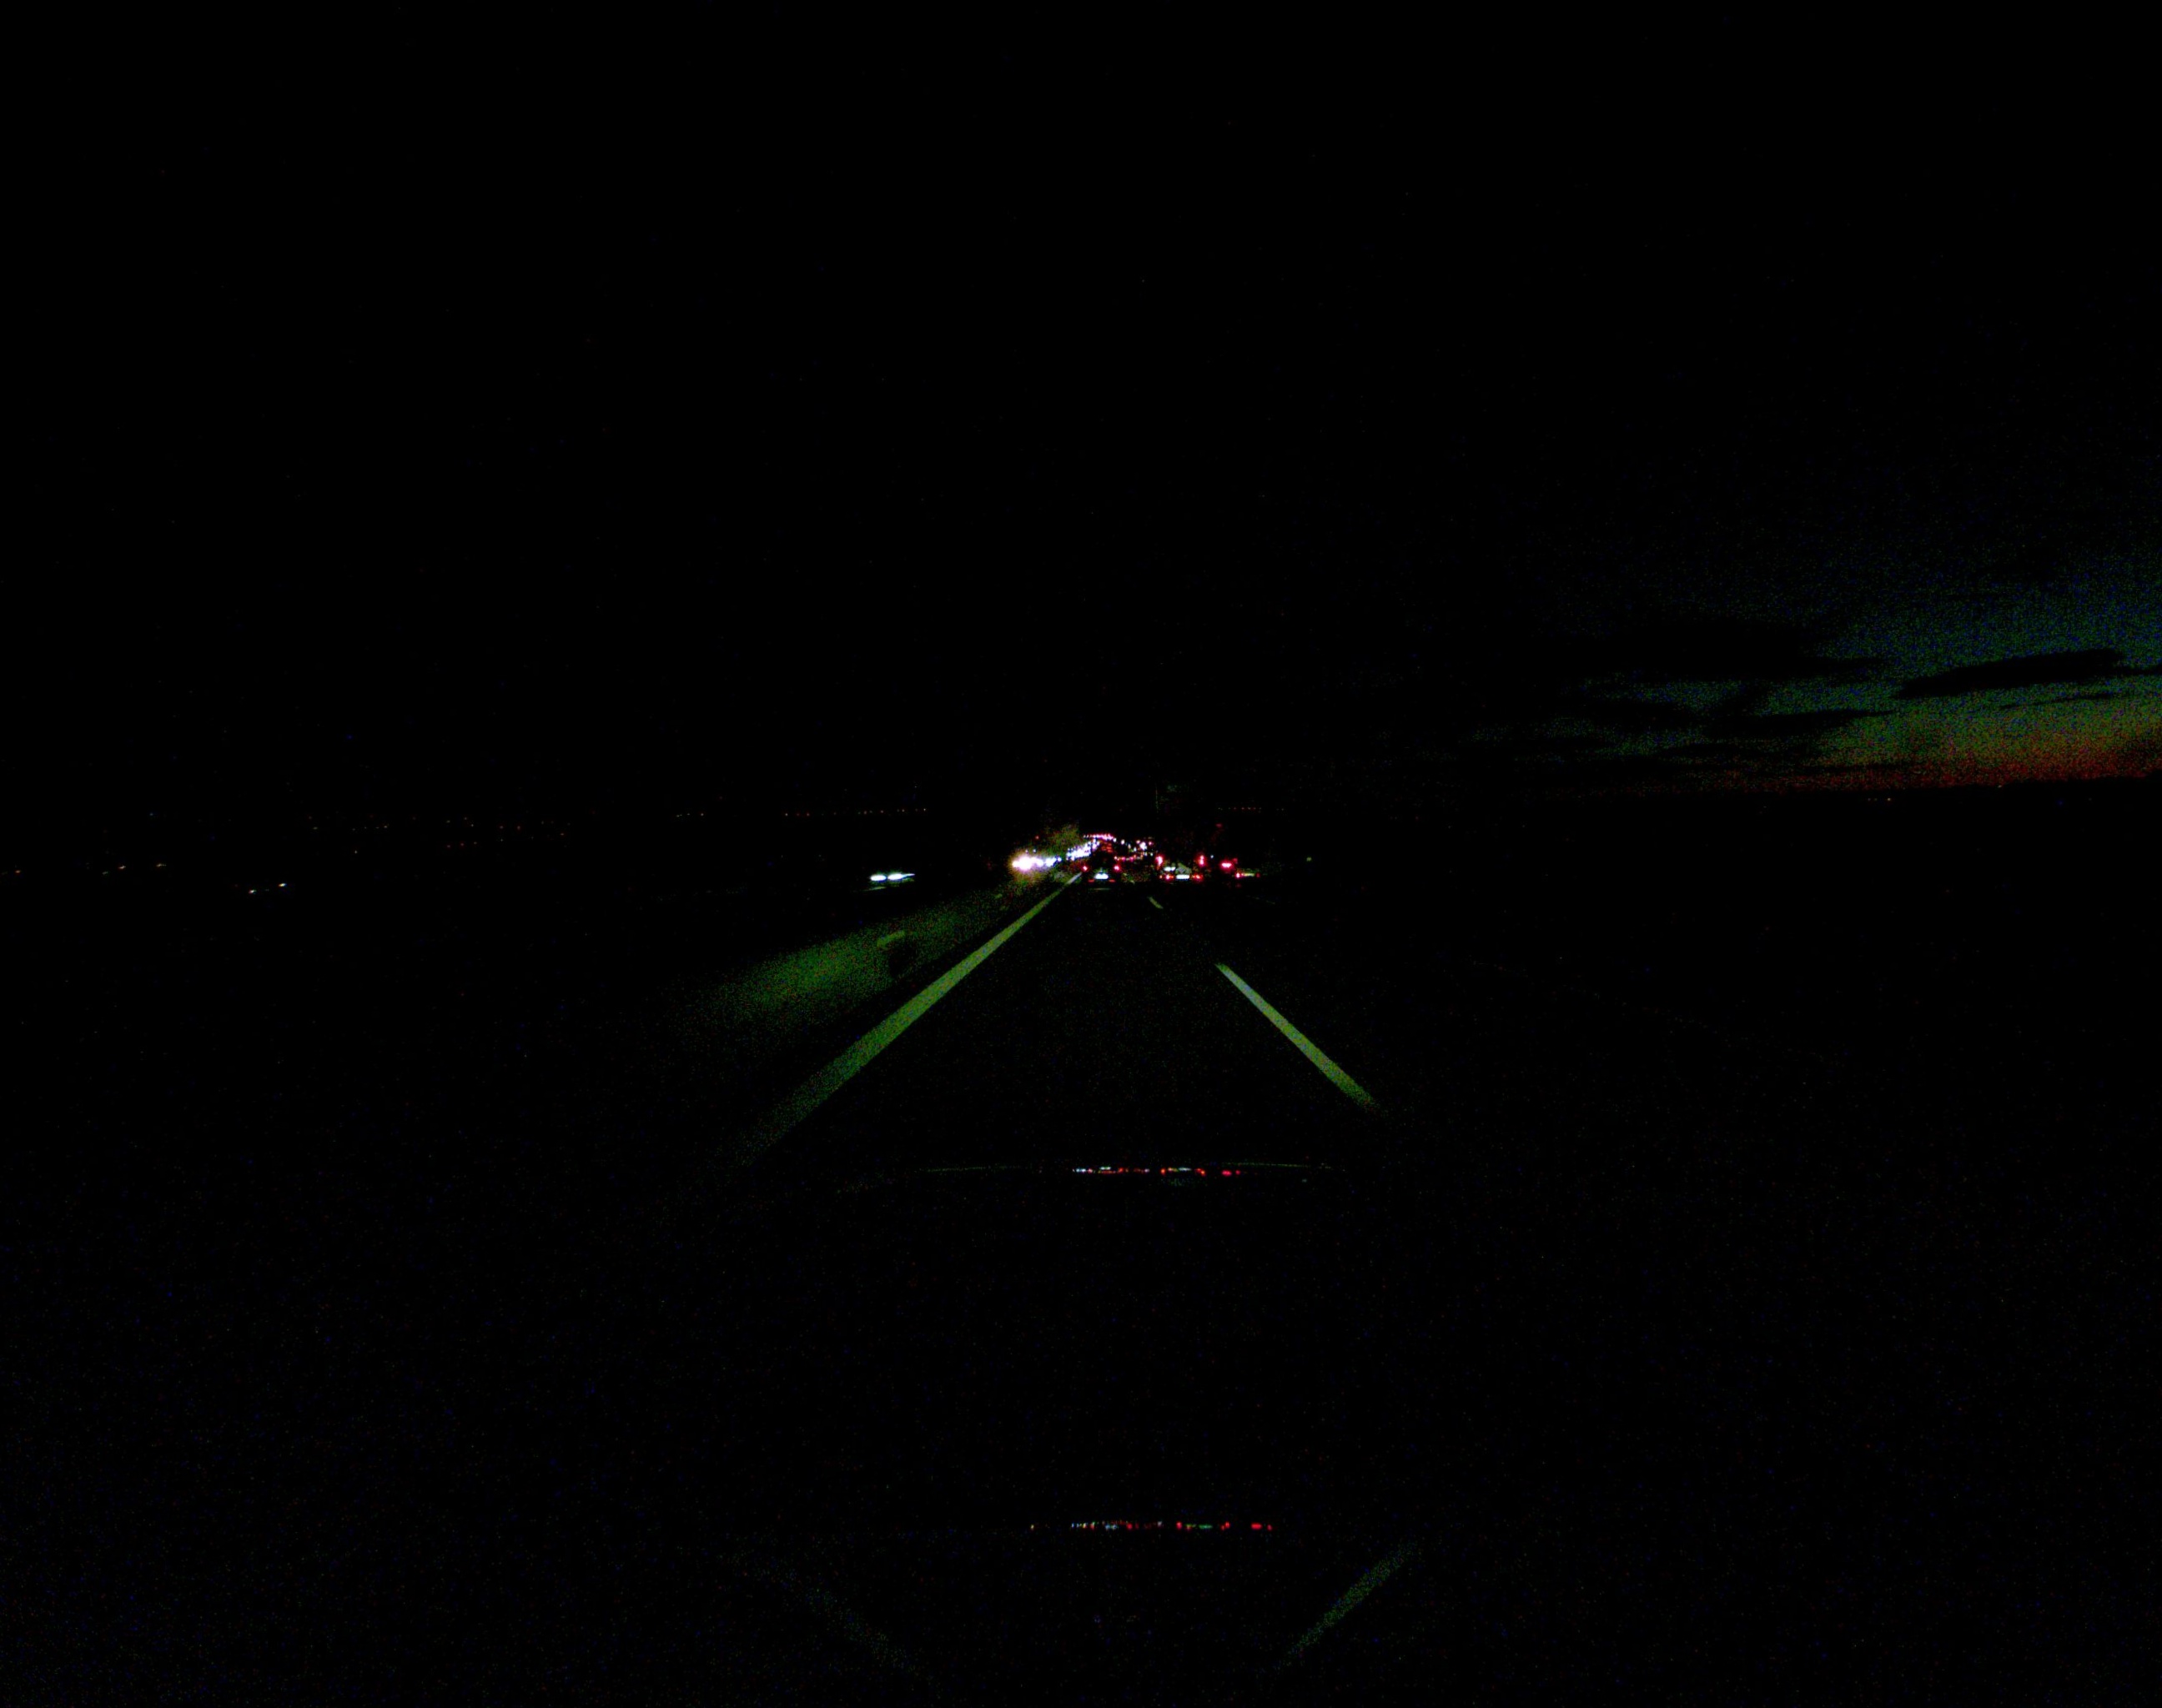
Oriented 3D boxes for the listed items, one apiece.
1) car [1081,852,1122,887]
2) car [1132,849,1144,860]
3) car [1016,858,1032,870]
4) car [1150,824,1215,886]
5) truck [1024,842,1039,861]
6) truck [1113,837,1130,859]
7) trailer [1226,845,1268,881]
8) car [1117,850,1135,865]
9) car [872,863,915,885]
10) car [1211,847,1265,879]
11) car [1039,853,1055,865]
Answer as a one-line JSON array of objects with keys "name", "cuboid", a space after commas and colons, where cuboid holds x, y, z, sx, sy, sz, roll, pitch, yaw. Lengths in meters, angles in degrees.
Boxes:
[{"name": "car", "cuboid": [0.997, 0.685, 38.267, 1.787, 1.469, 3.775, -1, 1, 2]}, {"name": "car", "cuboid": [11.492, 0.182, 164.712, 2.342, 2.075, 4.725, -2, 0, 2]}, {"name": "car", "cuboid": [-8.132, 1.436, 116.234, 1.805, 1.643, 4.159, -2, 0, 2]}, {"name": "car", "cuboid": [4.516, 0.024, 37.121, 2.342, 2.535, 5.704, -2, 0, 2]}, {"name": "truck", "cuboid": [-11.114, -0.586, 182.939, 2.772, 3.955, 7.993, -2, 0, 0]}, {"name": "truck", "cuboid": [7.686, -1.060, 156.444, 2.772, 3.955, 7.993, -2, 0, 0]}, {"name": "trailer", "cuboid": [8.246, 0.443, 40.551, 1.560, 1.693, 2.822, -2, 0, 2]}, {"name": "car", "cuboid": [6.397, 0.477, 116.385, 2.342, 1.914, 4.725, -2, 0, 2]}, {"name": "car", "cuboid": [-14.694, 1.539, 64.064, 1.987, 1.478, 5.045, -4, 0, 1]}, {"name": "car", "cuboid": [8.429, 0.442, 44.185, 2.154, 1.563, 4.725, -1, 0, 2]}, {"name": "car", "cuboid": [-4.787, 0.721, 114.459, 1.805, 1.643, 4.159, -2, 0, 2]}]
